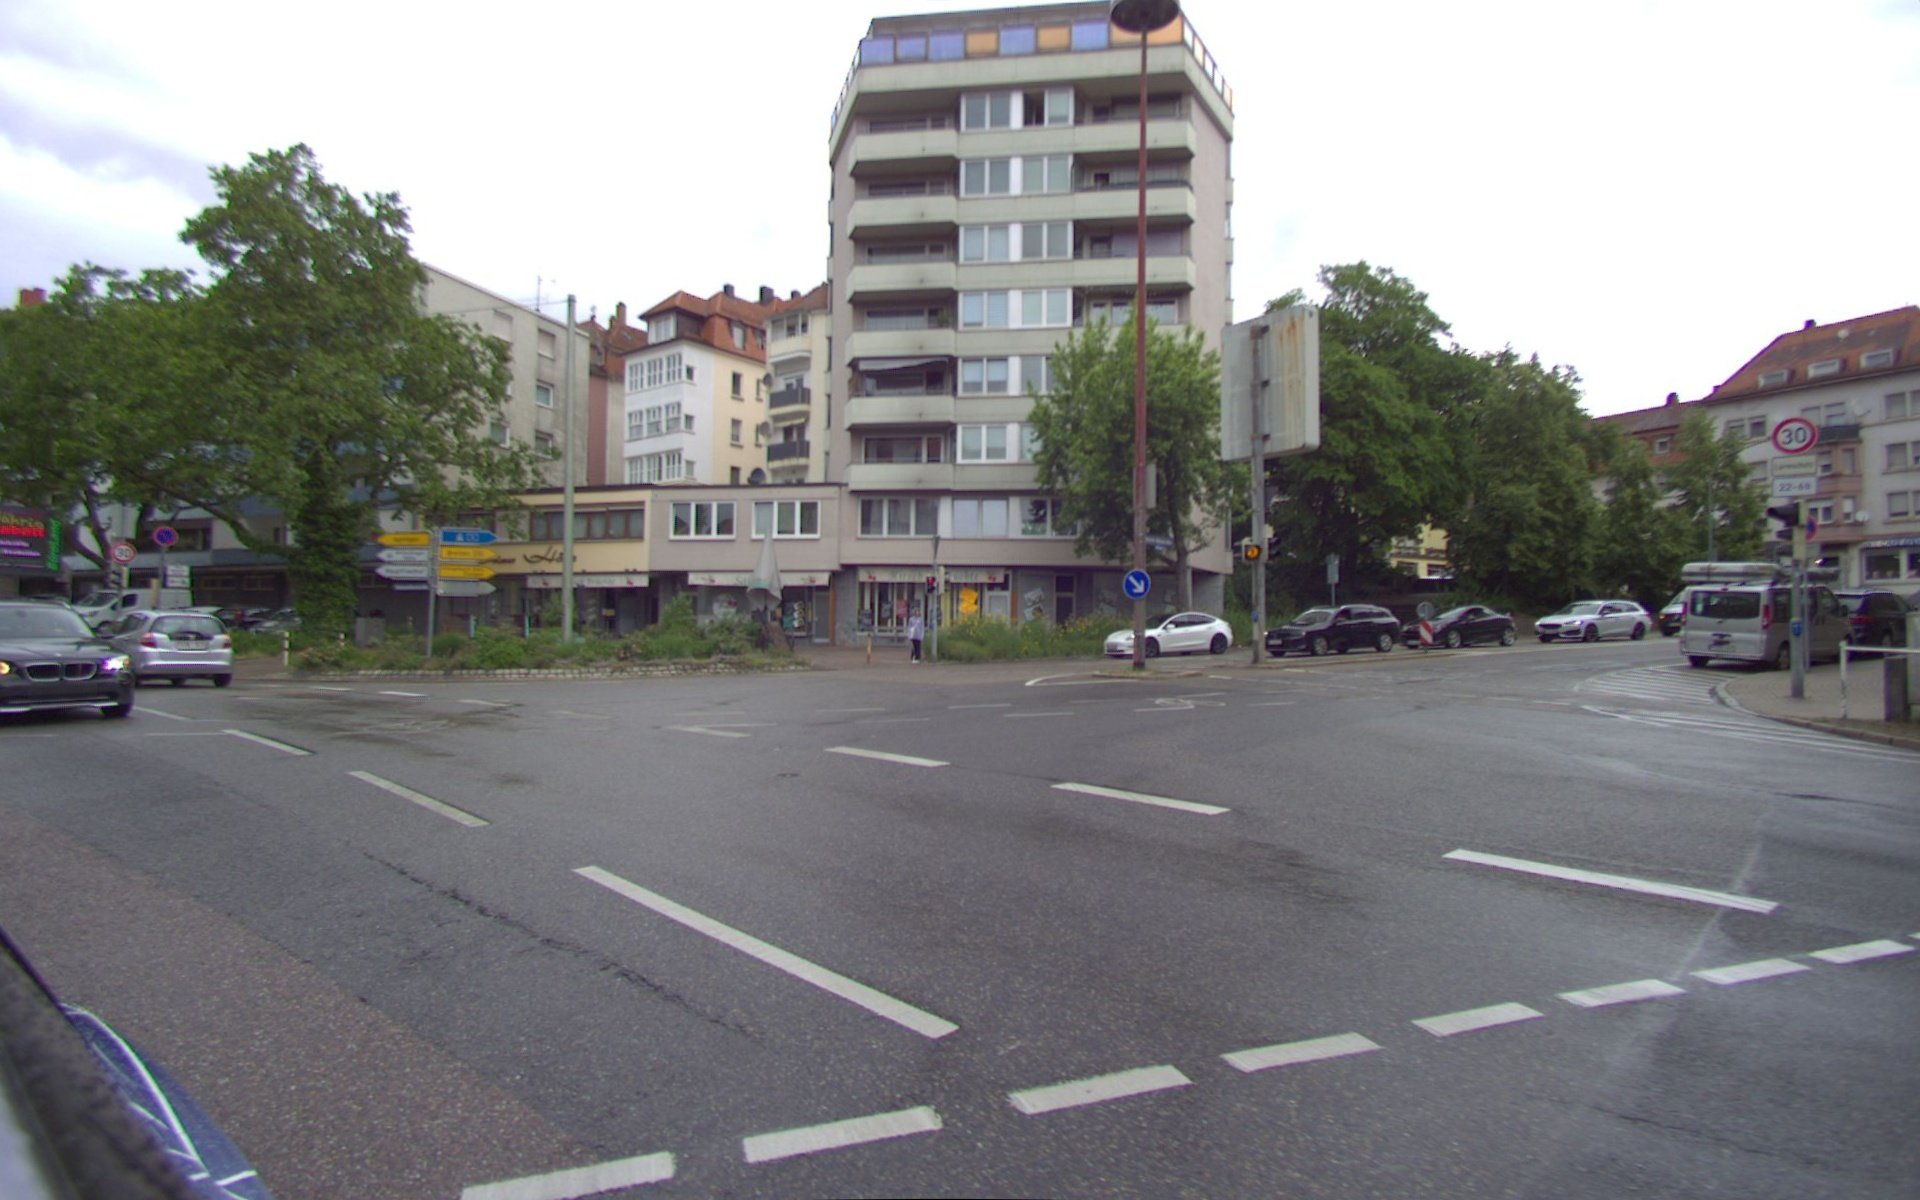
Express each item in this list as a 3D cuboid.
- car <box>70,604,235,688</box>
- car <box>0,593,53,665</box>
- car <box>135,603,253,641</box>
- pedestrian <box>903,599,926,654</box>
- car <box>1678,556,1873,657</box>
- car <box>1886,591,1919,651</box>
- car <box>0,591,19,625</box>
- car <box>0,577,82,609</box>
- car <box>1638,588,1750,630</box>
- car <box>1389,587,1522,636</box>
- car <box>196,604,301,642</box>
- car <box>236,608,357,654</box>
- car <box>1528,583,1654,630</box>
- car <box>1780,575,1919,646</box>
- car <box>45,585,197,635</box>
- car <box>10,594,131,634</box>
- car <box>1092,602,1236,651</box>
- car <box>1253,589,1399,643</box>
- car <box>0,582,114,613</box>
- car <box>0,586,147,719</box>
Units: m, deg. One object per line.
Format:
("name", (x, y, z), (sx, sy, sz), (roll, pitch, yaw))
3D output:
("car", (-16.298, 0.862, 20.376), (3.863, 1.530, 1.611), (0, -1, 36))
("car", (-26.557, 0.708, 27.067), (4.117, 1.860, 1.735), (1, -2, 22))
("car", (-31.464, 0.877, 41.694), (1.791, 1.426, 3.697), (1, 0, 7))
("pedestrian", (-1.434, 0.817, 31.761), (0.609, 1.706, 0.627), (0, 0, -16))
("car", (19.288, 0.149, 23.902), (4.721, 2.185, 2.006), (0, 0, -30))
("car", (29.544, 0.617, 29.921), (4.143, 1.717, 2.006), (0, -1, -30))
("car", (-47.878, 0.386, 48.212), (1.791, 1.605, 4.300), (2, 1, 9))
("car", (-44.638, -0.356, 48.552), (1.658, 1.416, 3.834), (1, 2, 2))
("car", (28.209, 0.354, 38.885), (4.082, 1.549, 1.744), (1, 1, -27))
("car", (15.882, 0.375, 32.429), (3.954, 1.503, 1.772), (0, -2, -27))
("car", (-29.074, 0.920, 41.471), (1.609, 1.426, 3.618), (1, 0, 3))
("car", (-26.303, 1.197, 40.313), (1.916, 1.655, 4.212), (1, 0, 3))
("car", (22.074, 0.245, 35.389), (4.228, 1.549, 1.744), (0, -2, -27))
("car", (23.529, 0.257, 26.295), (4.306, 1.717, 2.006), (0, 0, -30))
("car", (-36.030, 0.405, 43.667), (1.861, 1.992, 4.956), (1, 0, 13))
("car", (-40.546, 0.631, 46.241), (1.789, 1.702, 3.819), (2, 0, 14))
("car", (6.661, 0.831, 32.995), (4.317, 1.503, 1.920), (0, 0, -27))
("car", (10.730, 0.480, 29.640), (3.954, 1.503, 1.772), (0, -2, -27))
("car", (-42.837, -0.091, 48.075), (1.674, 1.416, 3.822), (1, 0, 12))
("car", (-12.593, 0.618, 13.362), (4.204, 1.546, 1.737), (0, -1, 34))
